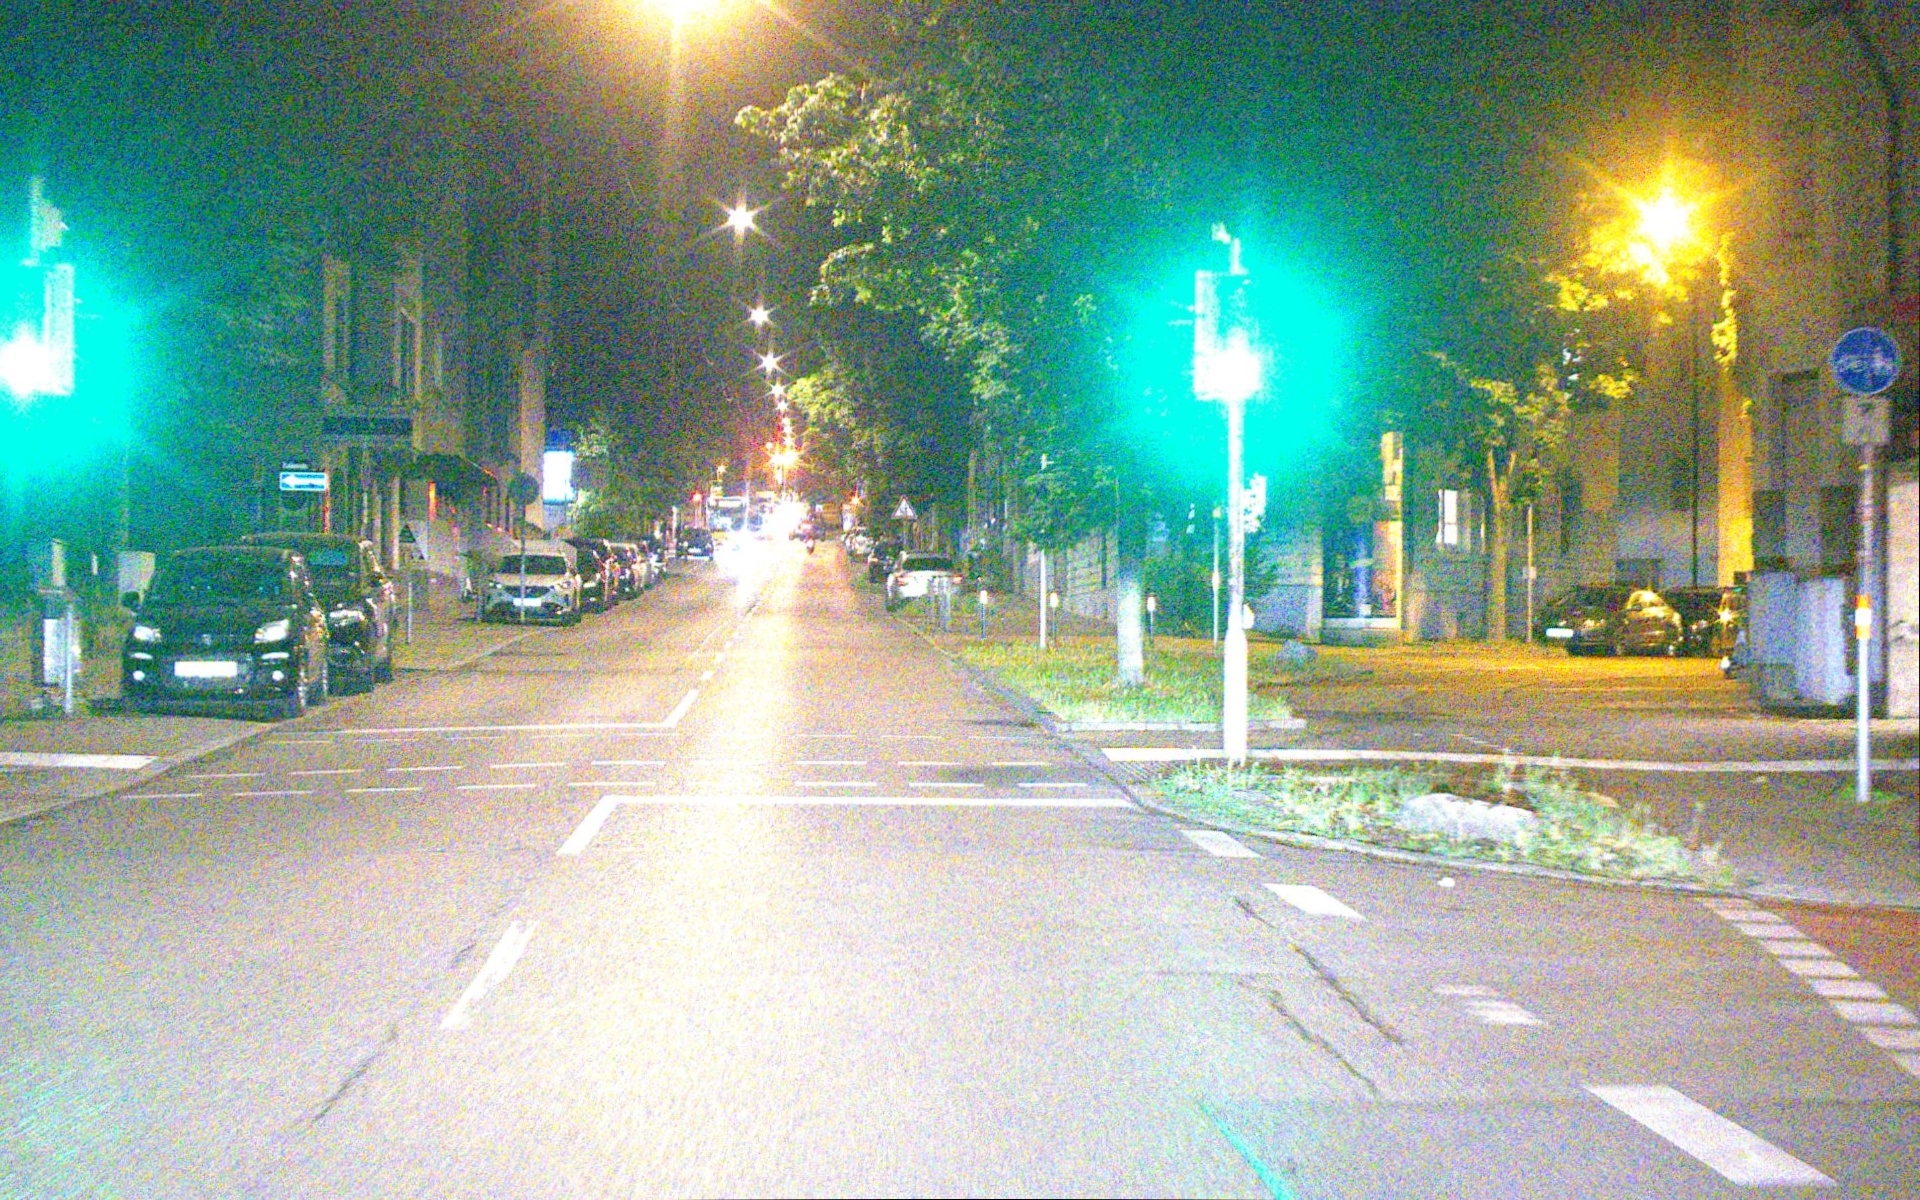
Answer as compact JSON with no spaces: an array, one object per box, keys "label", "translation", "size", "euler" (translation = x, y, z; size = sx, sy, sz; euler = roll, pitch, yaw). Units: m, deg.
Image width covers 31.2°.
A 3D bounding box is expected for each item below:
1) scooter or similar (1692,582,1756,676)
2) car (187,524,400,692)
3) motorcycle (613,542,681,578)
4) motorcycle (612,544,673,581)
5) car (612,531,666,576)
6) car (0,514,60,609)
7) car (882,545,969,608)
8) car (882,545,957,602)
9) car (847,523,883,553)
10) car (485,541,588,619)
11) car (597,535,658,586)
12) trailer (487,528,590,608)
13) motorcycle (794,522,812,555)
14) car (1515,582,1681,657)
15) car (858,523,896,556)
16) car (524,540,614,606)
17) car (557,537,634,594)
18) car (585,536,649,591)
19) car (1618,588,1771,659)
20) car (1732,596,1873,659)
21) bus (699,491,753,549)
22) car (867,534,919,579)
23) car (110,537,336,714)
[{"label":"scooter or similar","translation":[9.595,0.360,43.159],"size":[0.499,1.142,1.665],"euler":[-1,-1,22]},{"label":"car","translation":[-7.223,0.034,37.657],"size":[1.848,1.644,4.673],"euler":[2,2,-6]},{"label":"motorcycle","translation":[-10.259,-1.302,112.541],"size":[2.205,1.127,0.714],"euler":[1,2,31]},{"label":"motorcycle","translation":[-10.223,-1.219,110.524],"size":[0.714,1.143,2.208],"euler":[-1,2,-45]},{"label":"car","translation":[-11.027,-1.599,118.214],"size":[1.638,1.493,2.765],"euler":[1,0,-1]},{"label":"car","translation":[-16.218,-0.697,53.235],"size":[3.988,1.420,1.761],"euler":[4,1,7]},{"label":"car","translation":[-0.863,-0.570,83.266],"size":[1.845,1.412,4.646],"euler":[-2,1,-3]},{"label":"car","translation":[-1.059,-0.698,88.518],"size":[1.770,1.443,4.020],"euler":[0,1,-3]},{"label":"car","translation":[-5.108,-3.325,183.922],"size":[1.868,1.521,4.150],"euler":[-1,2,-2]},{"label":"car","translation":[-8.535,-0.429,69.582],"size":[1.814,1.479,4.348],"euler":[1,1,-4]},{"label":"car","translation":[-10.264,-1.237,106.275],"size":[1.704,1.486,4.229],"euler":[-1,2,-3]},{"label":"trailer","translation":[-9.083,-0.687,74.290],"size":[1.638,1.634,3.439],"euler":[2,0,2]},{"label":"motorcycle","translation":[-8.562,-3.344,187.445],"size":[0.931,1.746,2.625],"euler":[2,0,-2]},{"label":"car","translation":[12.789,0.391,68.772],"size":[1.800,1.412,3.830],"euler":[2,1,35]},{"label":"car","translation":[-4.129,-3.010,170.565],"size":[1.812,1.588,4.274],"euler":[-1,2,-2]},{"label":"car","translation":[-9.099,-0.649,80.254],"size":[1.835,1.442,4.545],"euler":[1,2,-4]},{"label":"car","translation":[-9.934,-0.944,93.998],"size":[1.863,1.486,4.281],"euler":[2,0,-3]},{"label":"car","translation":[-9.823,-1.043,98.548],"size":[1.621,1.486,3.781],"euler":[2,0,-3]},{"label":"car","translation":[15.706,0.508,73.392],"size":[1.800,1.412,3.830],"euler":[2,1,35]},{"label":"car","translation":[19.203,0.634,78.292],"size":[1.773,1.336,3.911],"euler":[2,1,35]},{"label":"bus","translation":[-13.619,-4.701,200.794],"size":[2.837,3.166,10.500],"euler":[2,2,-3]},{"label":"car","translation":[-2.396,-1.548,121.818],"size":[1.763,1.471,4.081],"euler":[-1,2,-2]},{"label":"car","translation":[-6.827,0.206,32.147],"size":[1.647,1.509,3.703],"euler":[2,0,-6]}]
